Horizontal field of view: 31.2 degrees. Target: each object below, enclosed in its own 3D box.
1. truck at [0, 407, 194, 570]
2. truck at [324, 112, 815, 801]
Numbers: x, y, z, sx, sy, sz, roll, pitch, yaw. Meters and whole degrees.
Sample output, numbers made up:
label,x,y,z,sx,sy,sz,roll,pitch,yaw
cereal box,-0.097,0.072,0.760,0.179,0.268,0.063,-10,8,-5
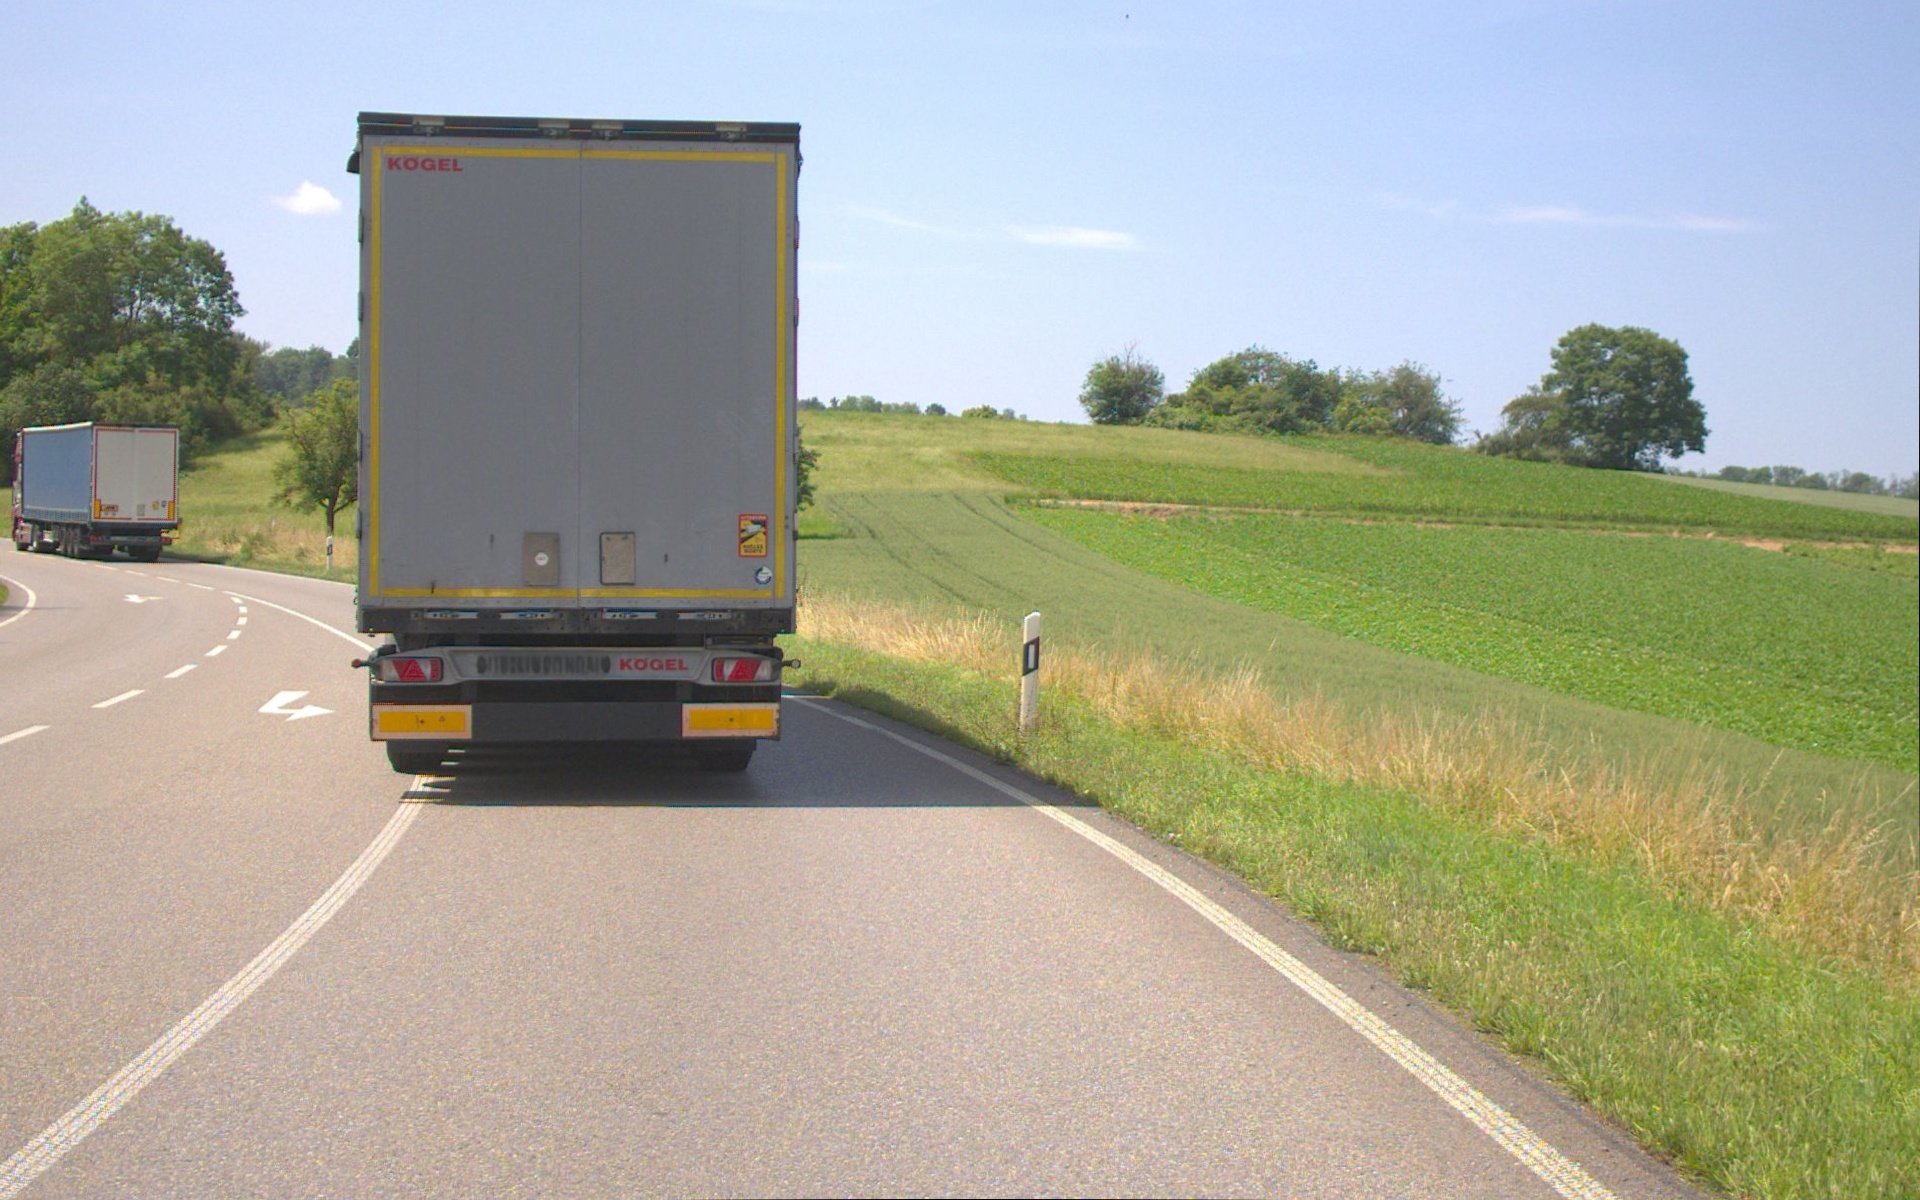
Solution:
label,x,y,z,sx,sy,sz,roll,pitch,yaw
truck,-27.299,-3.395,106.804,2.960,4.568,16.319,3,0,-26
truck,-2.818,-0.909,24.554,2.807,3.932,9.593,0,1,-7
